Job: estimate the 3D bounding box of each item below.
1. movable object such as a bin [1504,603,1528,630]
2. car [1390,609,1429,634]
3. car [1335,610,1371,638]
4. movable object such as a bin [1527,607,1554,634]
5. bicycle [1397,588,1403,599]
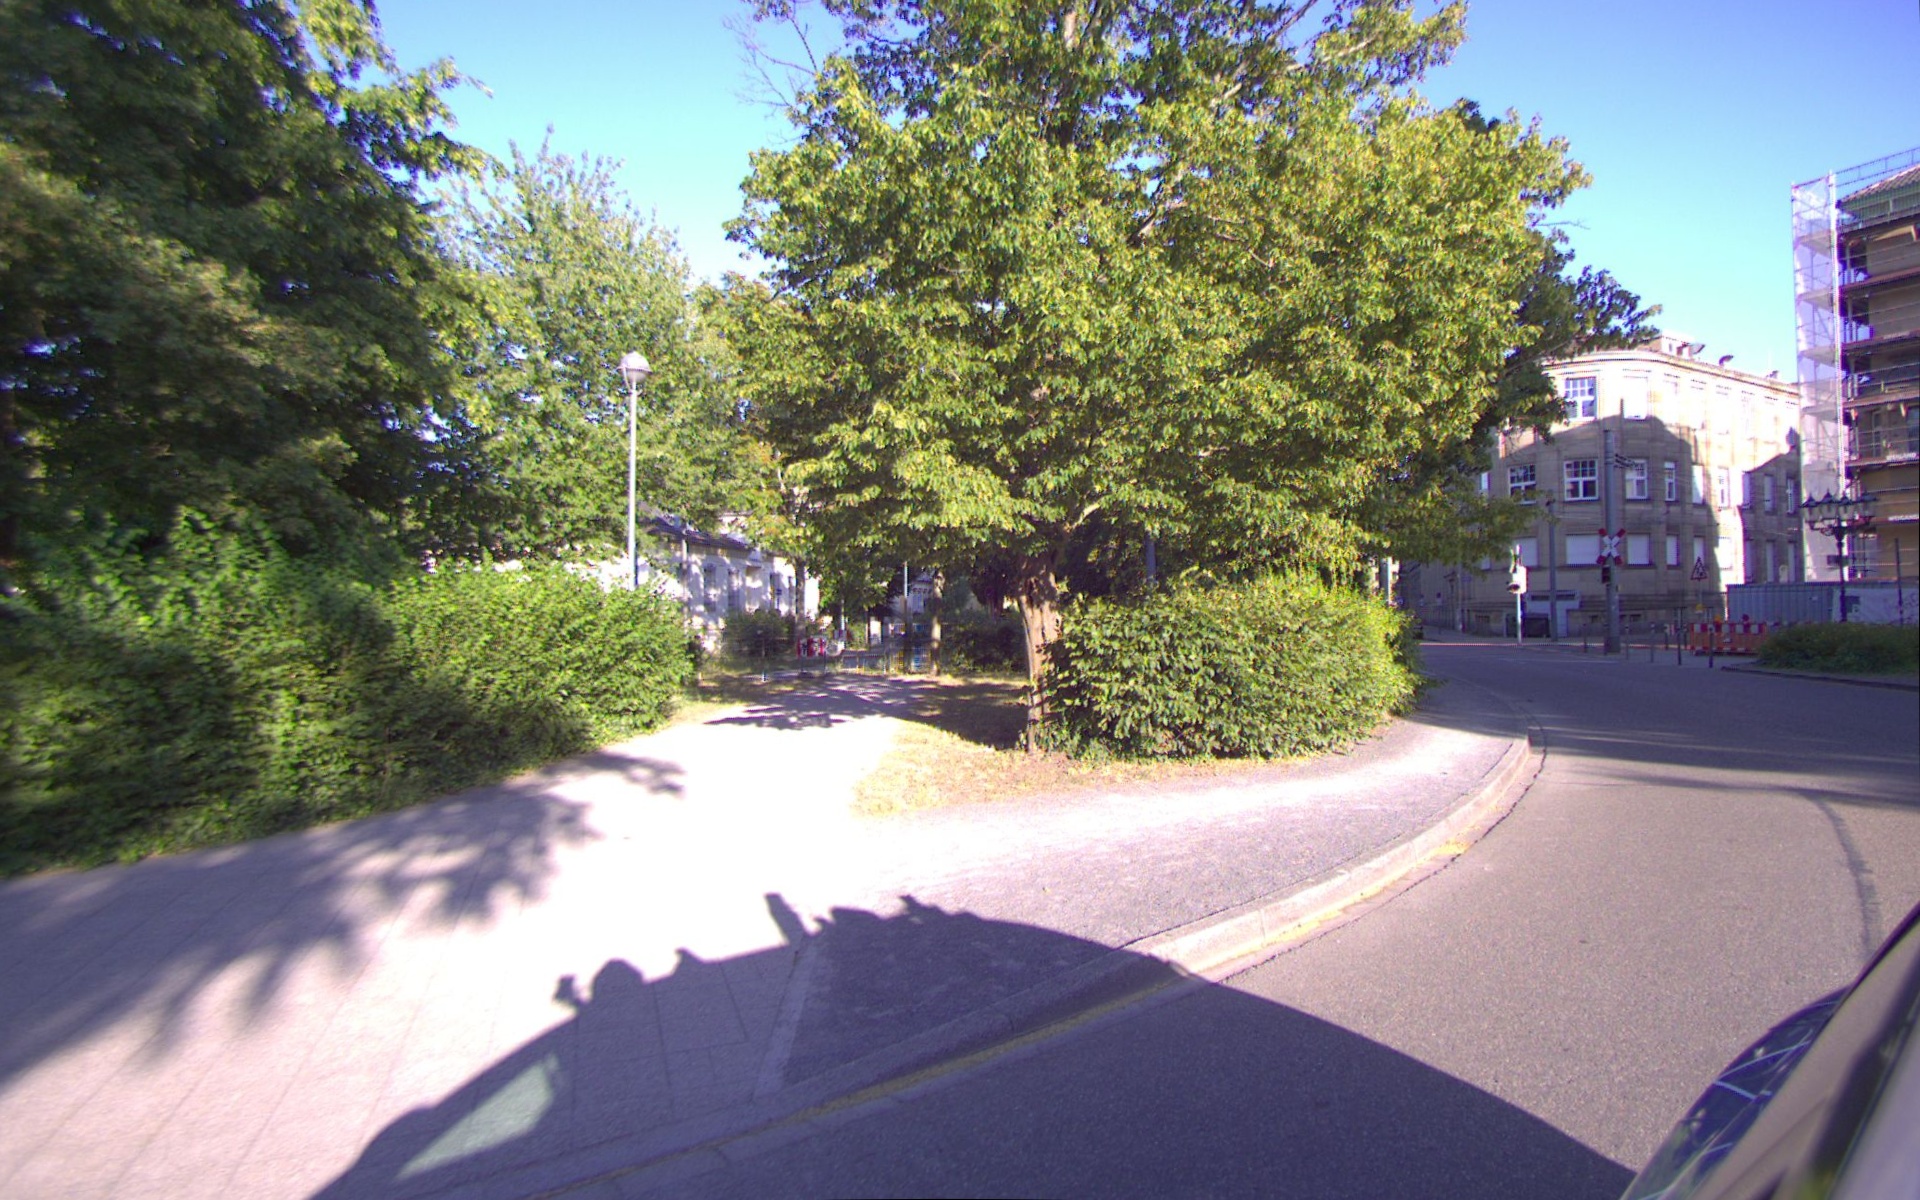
[{"bbox_3d":[31.598,0.944,57.509,1.139,1.505,1.611,-1,-1,28],"label":"movable object such as a bin"},{"bbox_3d":[26.974,1.271,60.882,1.726,1.466,4.182,-1,-1,19],"label":"car"},{"bbox_3d":[21.544,1.287,55.450,1.670,1.472,4.069,-1,-1,24],"label":"car"},{"bbox_3d":[32.116,1.117,56.024,1.175,1.447,1.902,-1,-1,28],"label":"movable object such as a bin"},{"bbox_3d":[50.592,-0.693,116.319,0.454,1.225,1.857,-1,-1,30],"label":"bicycle"}]
